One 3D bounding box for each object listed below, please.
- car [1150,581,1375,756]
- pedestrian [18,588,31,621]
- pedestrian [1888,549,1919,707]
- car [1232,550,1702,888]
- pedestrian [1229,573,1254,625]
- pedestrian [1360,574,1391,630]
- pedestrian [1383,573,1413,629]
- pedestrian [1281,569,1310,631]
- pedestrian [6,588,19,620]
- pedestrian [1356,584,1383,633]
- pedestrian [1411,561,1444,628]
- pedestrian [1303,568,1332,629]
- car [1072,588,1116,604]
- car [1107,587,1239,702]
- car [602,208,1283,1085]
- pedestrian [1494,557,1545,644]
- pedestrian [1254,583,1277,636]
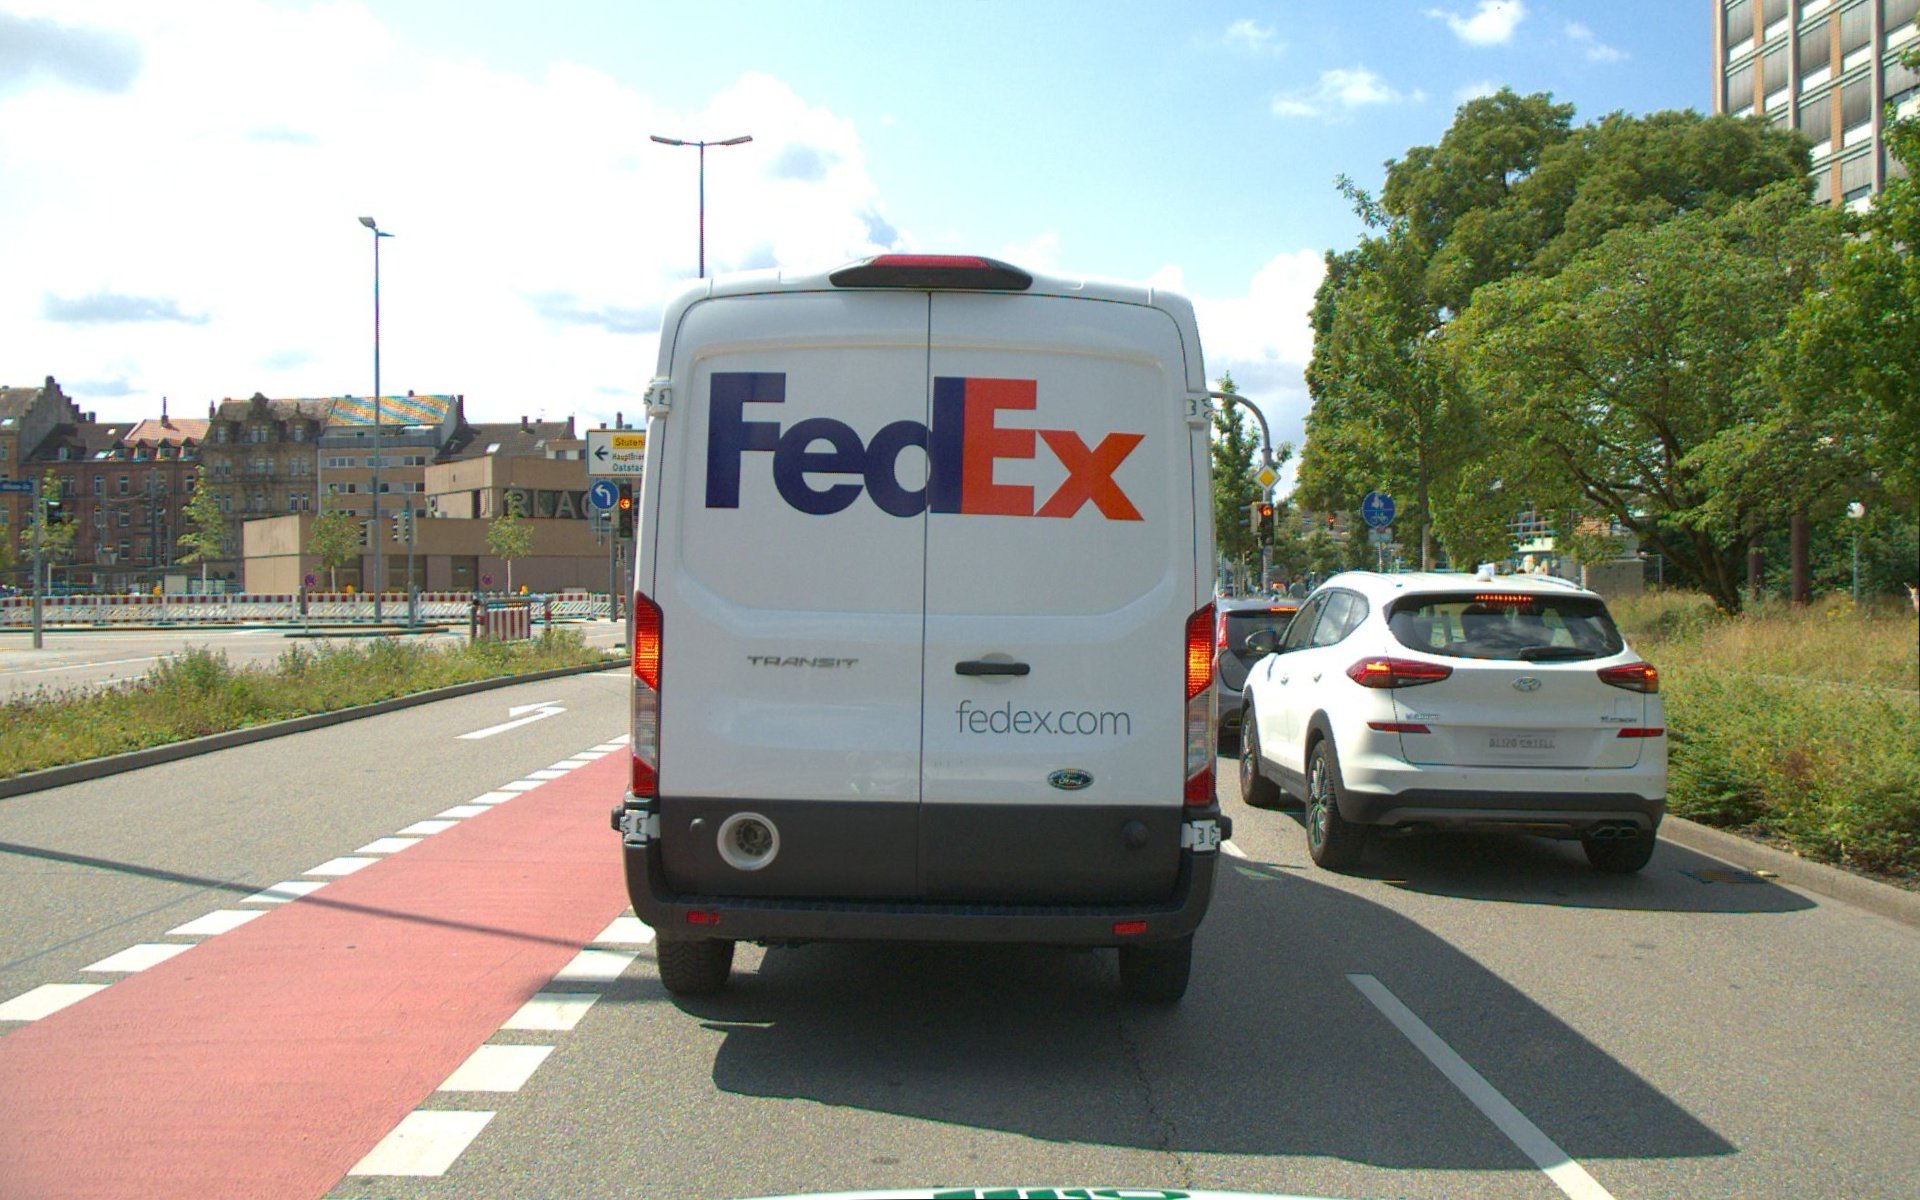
[{"bbox_3d":[2.957,0.603,16.873,1.656,1.576,3.721,0,1,1],"label":"car"},{"bbox_3d":[-47.891,0.220,84.670,0.416,1.681,0.416,1,-1,33],"label":"pedestrian"},{"bbox_3d":[9.940,0.275,16.630,0.743,1.584,0.816,0,0,-1],"label":"pedestrian"},{"bbox_3d":[2.900,0.581,10.383,1.777,1.708,3.974,0,1,1],"label":"car"},{"bbox_3d":[10.226,-0.032,60.054,0.796,1.882,0.761,0,0,2],"label":"pedestrian"},{"bbox_3d":[14.097,0.058,56.195,0.745,1.882,0.814,-1,0,-11],"label":"pedestrian"},{"bbox_3d":[14.963,0.039,56.521,0.745,1.882,0.814,0,0,-9],"label":"pedestrian"},{"bbox_3d":[10.393,-0.004,51.285,0.743,1.882,0.816,0,0,1],"label":"pedestrian"},{"bbox_3d":[-48.695,0.207,85.003,0.416,1.681,0.416,1,-1,33],"label":"pedestrian"},{"bbox_3d":[15.858,0.339,64.095,0.745,1.882,0.814,-1,0,-12],"label":"pedestrian"},{"bbox_3d":[12.886,-0.164,45.601,0.743,1.820,0.816,0,0,4],"label":"pedestrian"},{"bbox_3d":[11.142,-0.037,51.532,0.743,1.882,0.816,0,0,3],"label":"pedestrian"},{"bbox_3d":[13.051,-0.357,161.418,4.147,1.524,1.740,0,1,-1],"label":"car"},{"bbox_3d":[2.944,0.569,23.397,1.468,1.489,3.474,0,1,1],"label":"car"},{"bbox_3d":[-0.023,0.116,7.187,2.030,2.626,4.428,0,1,1],"label":"car"},{"bbox_3d":[11.045,0.008,32.669,0.743,1.684,0.816,0,0,3],"label":"pedestrian"},{"bbox_3d":[10.932,0.340,59.204,0.742,1.882,0.817,0,0,14],"label":"pedestrian"}]
